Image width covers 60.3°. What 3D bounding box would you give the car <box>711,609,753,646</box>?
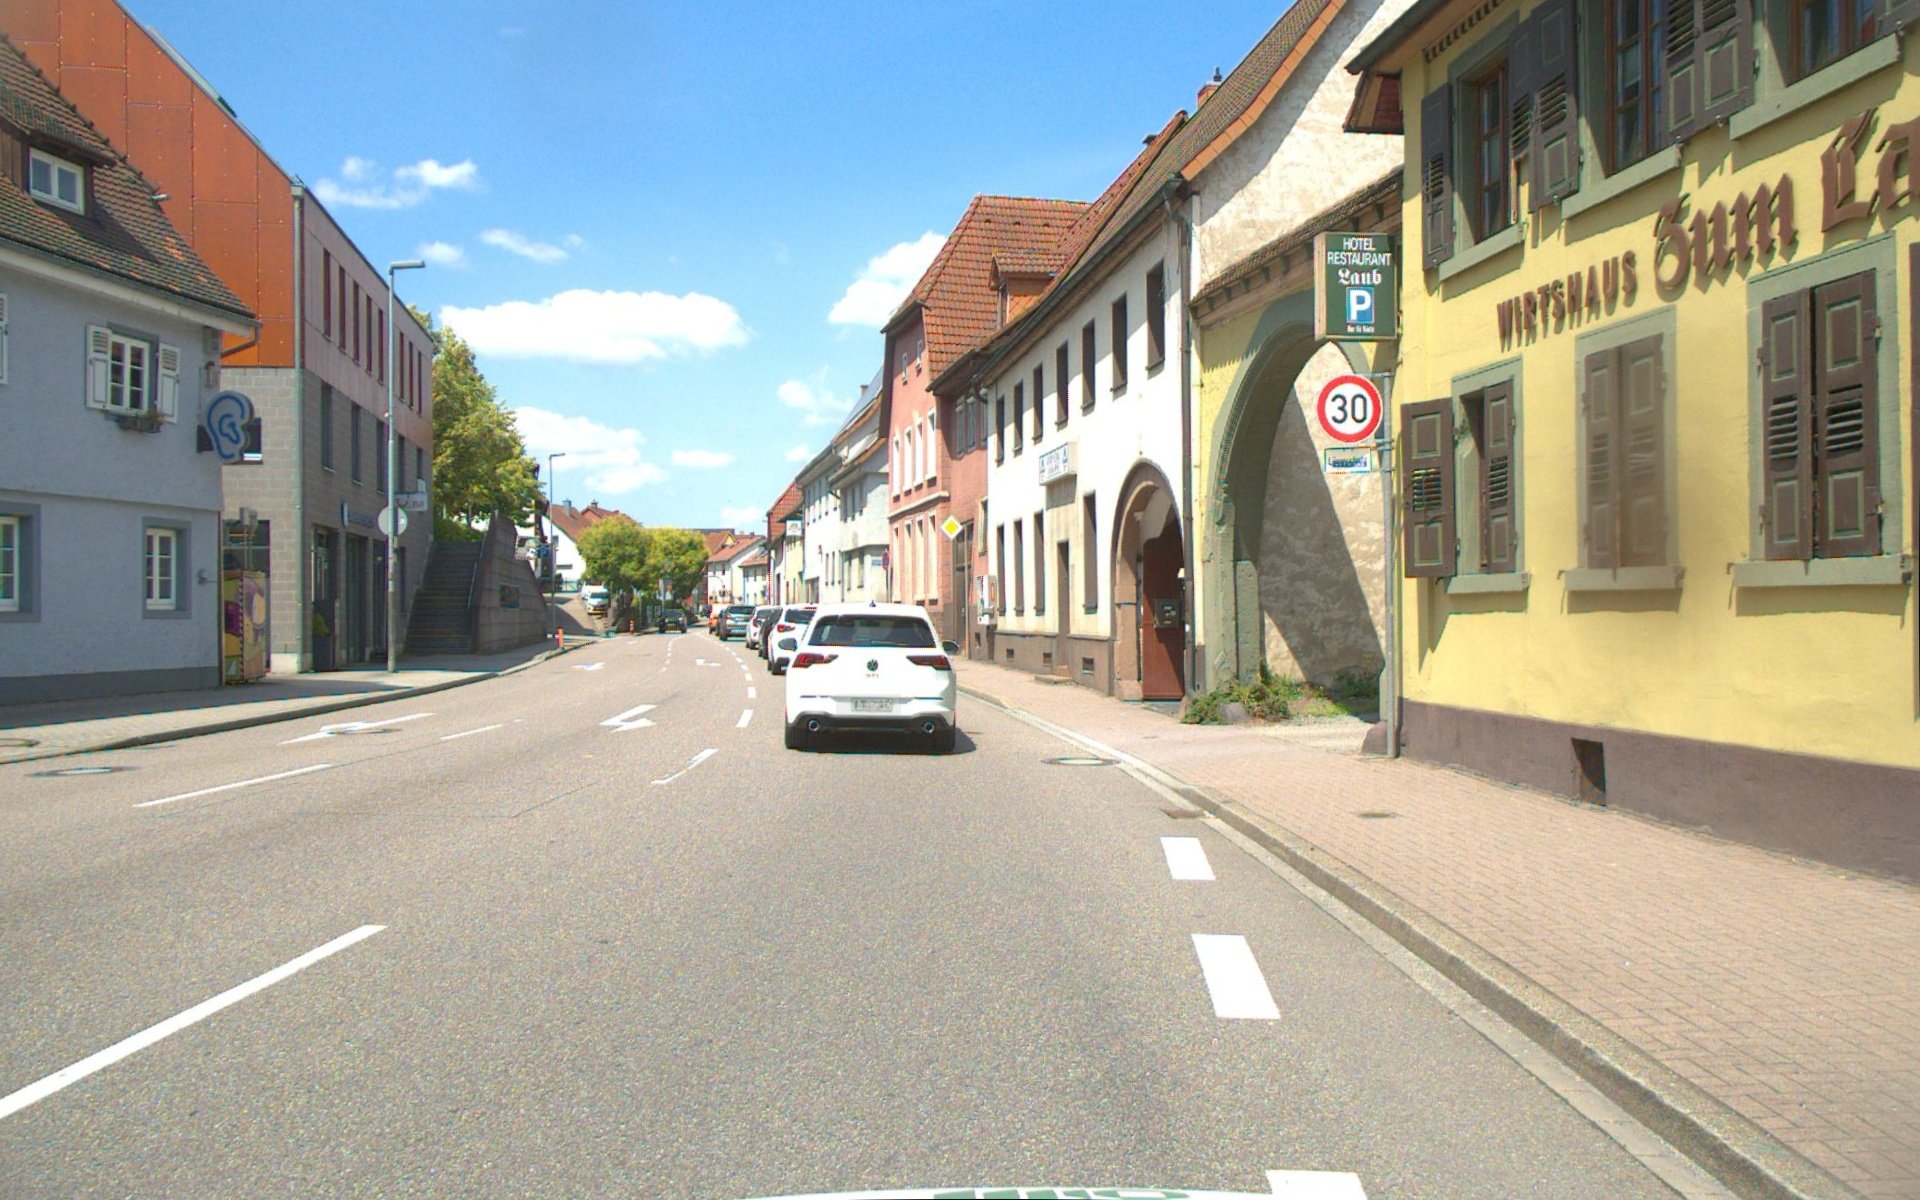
[{"bbox_3d":[-10.011,1.175,72.443,1.742,1.565,3.992,0,0,-9],"label":"car"}]

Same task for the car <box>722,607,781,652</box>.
[{"bbox_3d":[-7.344,1.017,57.941,1.775,1.493,3.989,1,-1,-11],"label":"car"}]

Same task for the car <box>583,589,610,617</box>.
[{"bbox_3d":[-24.736,0.209,112.662,1.663,1.569,3.847,0,5,-11],"label":"car"}]

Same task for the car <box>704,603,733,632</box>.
[{"bbox_3d":[-15.428,1.124,105.614,1.743,1.796,3.991,0,0,-9],"label":"car"}]

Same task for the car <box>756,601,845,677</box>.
[{"bbox_3d":[-3.468,0.826,35.654,1.773,1.493,3.994,1,-1,-7],"label":"car"}]

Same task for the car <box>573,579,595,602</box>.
[{"bbox_3d":[-28.107,-0.735,123.691,1.548,1.385,3.847,0,5,-11],"label":"car"}]

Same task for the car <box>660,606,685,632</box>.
[{"bbox_3d":[-19.453,1.285,111.893,1.639,1.686,4.008,0,0,-9],"label":"car"}]

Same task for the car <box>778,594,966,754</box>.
[{"bbox_3d":[-0.996,0.743,17.837,1.772,1.493,3.996,1,-1,-5],"label":"car"}]

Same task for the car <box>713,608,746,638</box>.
[{"bbox_3d":[-12.555,1.222,89.913,1.742,1.565,3.992,0,0,-9],"label":"car"}]
